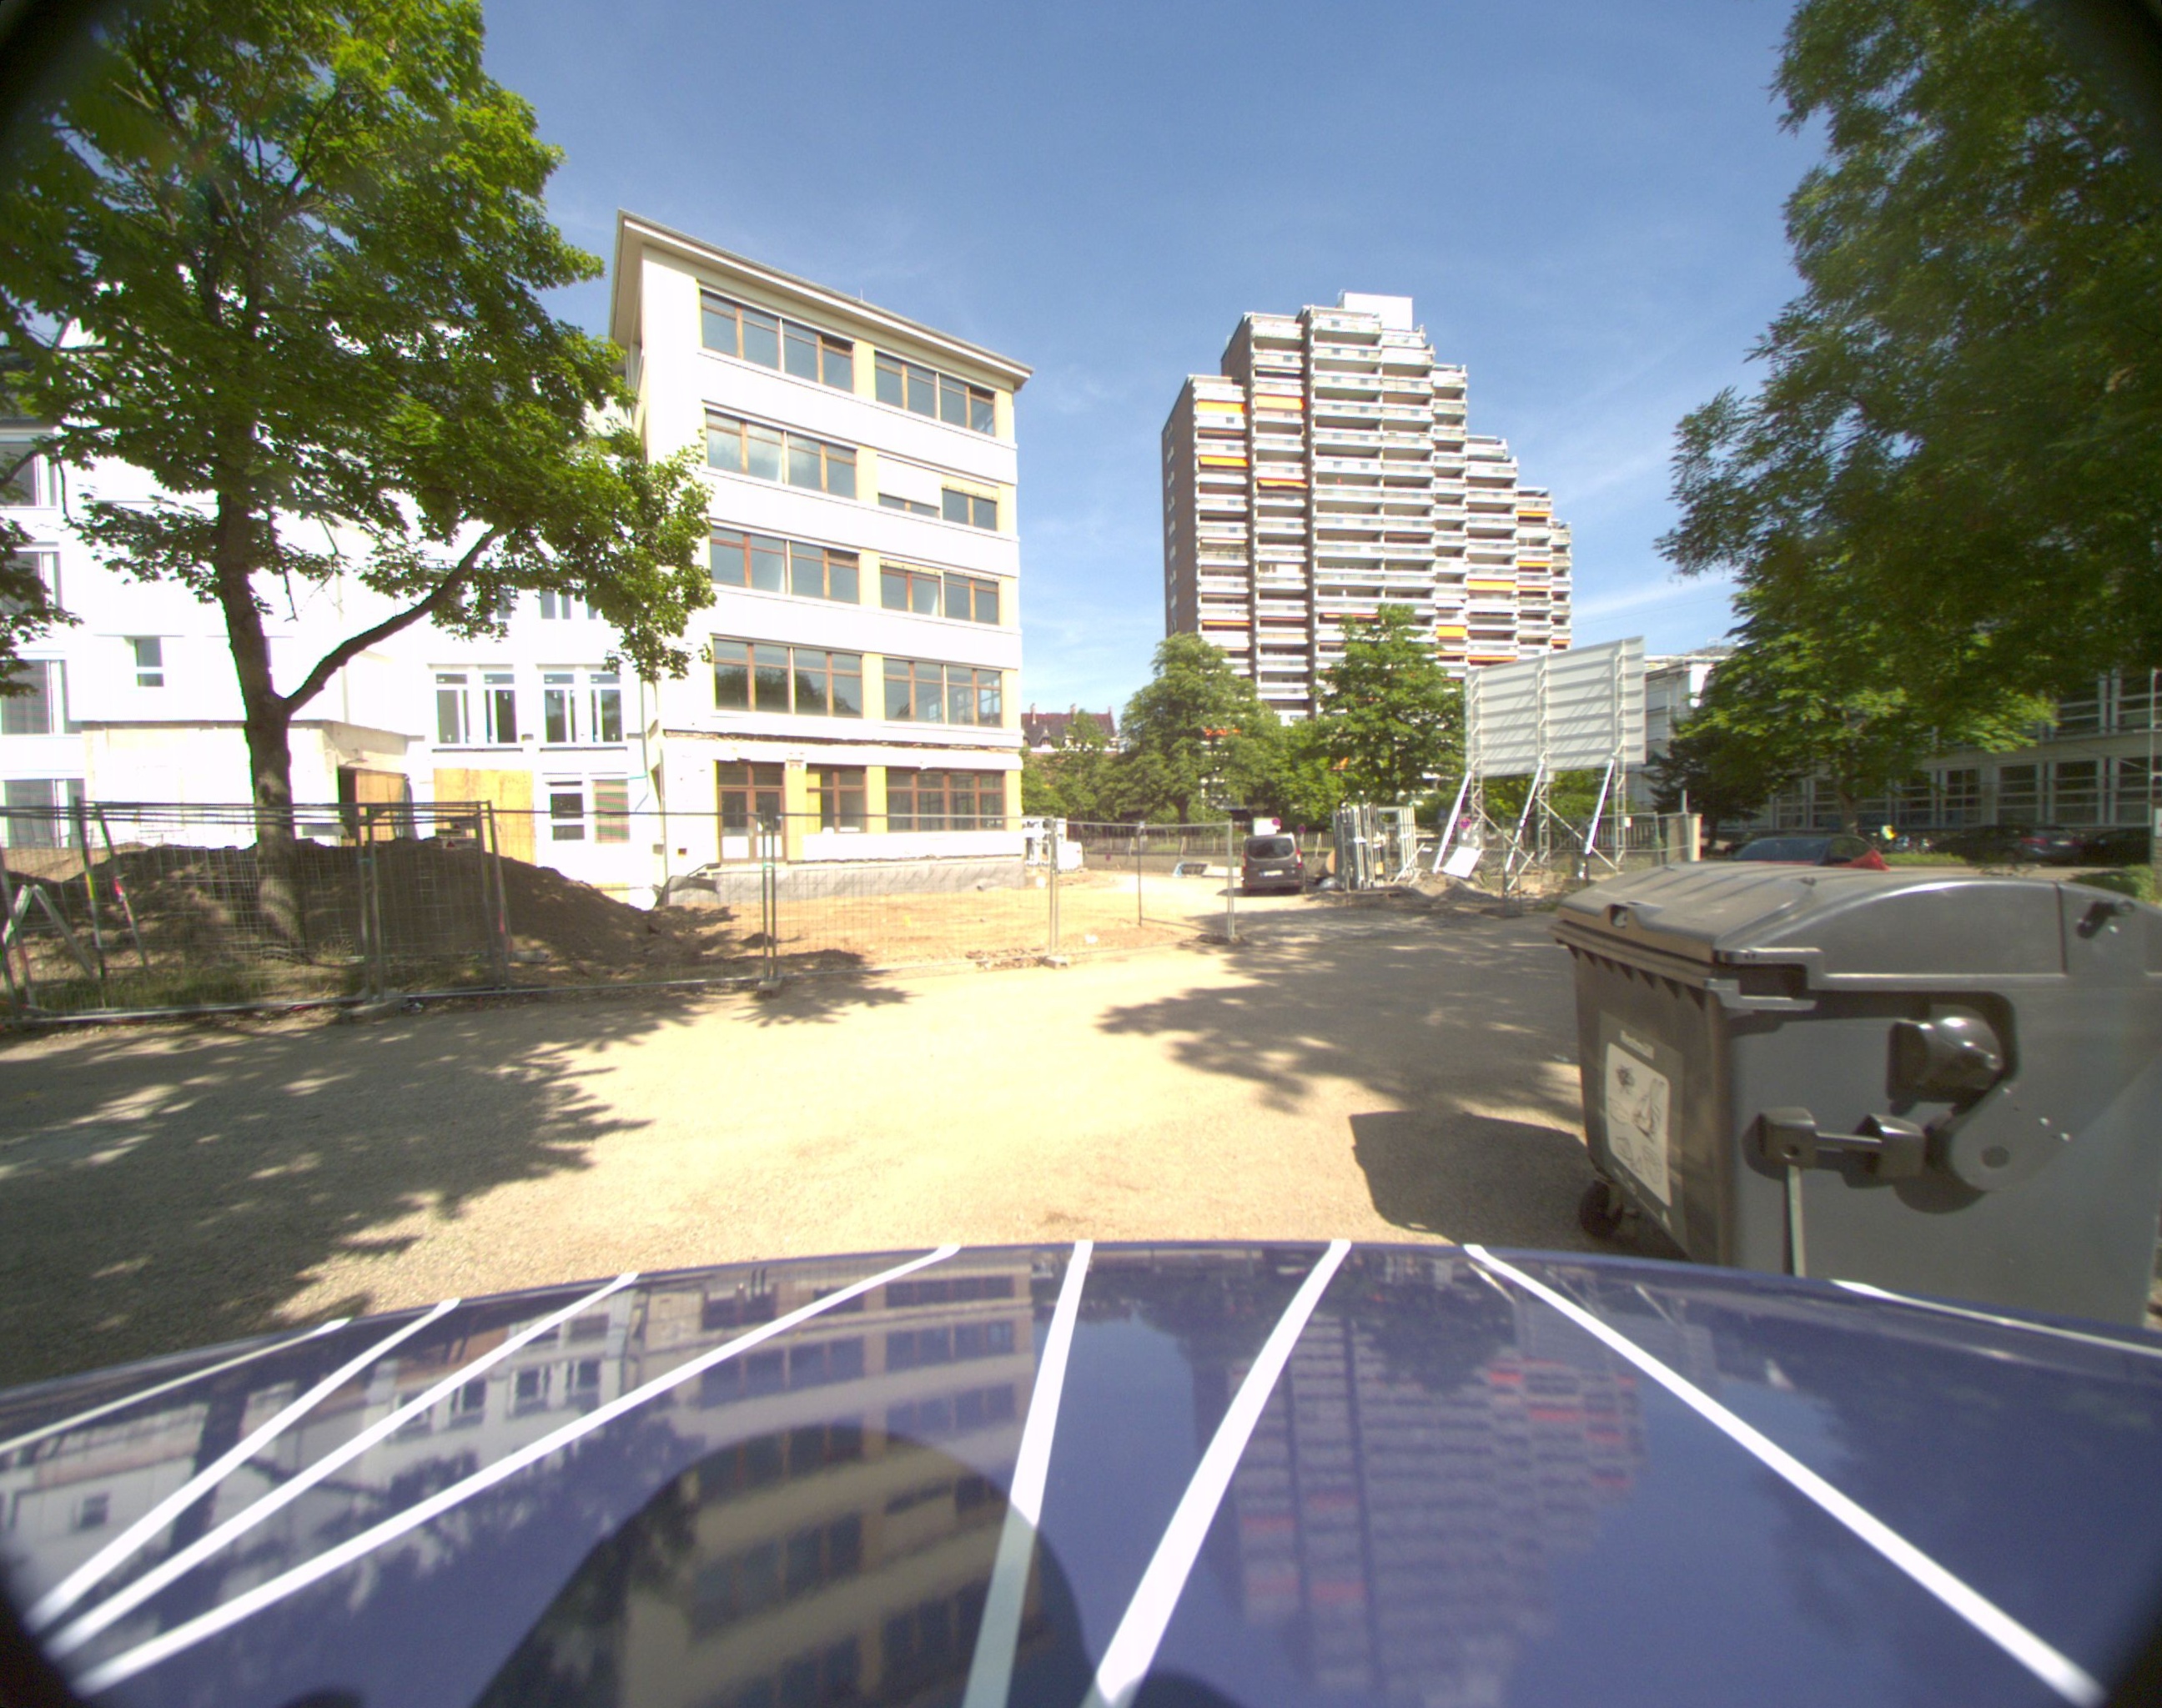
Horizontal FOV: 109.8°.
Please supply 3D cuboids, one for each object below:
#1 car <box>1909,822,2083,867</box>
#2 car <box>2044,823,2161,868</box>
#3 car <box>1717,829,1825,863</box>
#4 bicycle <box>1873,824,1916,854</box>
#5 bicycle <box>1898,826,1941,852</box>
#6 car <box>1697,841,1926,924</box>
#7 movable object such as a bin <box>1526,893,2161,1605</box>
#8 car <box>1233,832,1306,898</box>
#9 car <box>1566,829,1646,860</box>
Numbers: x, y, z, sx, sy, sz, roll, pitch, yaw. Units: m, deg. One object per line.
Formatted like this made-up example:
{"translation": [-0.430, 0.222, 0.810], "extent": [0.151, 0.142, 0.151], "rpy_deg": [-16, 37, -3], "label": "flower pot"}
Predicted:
{"translation": [34.880, -0.385, 29.178], "extent": [1.805, 1.556, 4.393], "rpy_deg": [-1, 1, 9], "label": "car"}
{"translation": [36.800, -0.319, 26.351], "extent": [1.799, 1.467, 4.187], "rpy_deg": [-1, 1, 8], "label": "car"}
{"translation": [31.069, -0.377, 34.380], "extent": [1.652, 1.443, 4.002], "rpy_deg": [-1, 1, 8], "label": "car"}
{"translation": [38.887, -0.728, 36.321], "extent": [2.018, 1.370, 0.489], "rpy_deg": [-2, 2, -15], "label": "bicycle"}
{"translation": [38.968, -0.698, 35.303], "extent": [2.018, 1.193, 0.489], "rpy_deg": [-2, 2, -15], "label": "bicycle"}
{"translation": [14.108, 0.469, 14.666], "extent": [4.180, 1.404, 1.659], "rpy_deg": [-1, 1, -23], "label": "car"}
{"translation": [2.285, 0.870, 2.286], "extent": [1.246, 1.389, 1.405], "rpy_deg": [-1, 2, 12], "label": "movable object such as a bin"}
{"translation": [5.873, 0.260, 23.397], "extent": [1.918, 1.770, 4.316], "rpy_deg": [-3, 1, 16], "label": "car"}
{"translation": [27.367, -0.529, 39.749], "extent": [1.840, 1.402, 4.149], "rpy_deg": [-3, 2, 10], "label": "car"}
